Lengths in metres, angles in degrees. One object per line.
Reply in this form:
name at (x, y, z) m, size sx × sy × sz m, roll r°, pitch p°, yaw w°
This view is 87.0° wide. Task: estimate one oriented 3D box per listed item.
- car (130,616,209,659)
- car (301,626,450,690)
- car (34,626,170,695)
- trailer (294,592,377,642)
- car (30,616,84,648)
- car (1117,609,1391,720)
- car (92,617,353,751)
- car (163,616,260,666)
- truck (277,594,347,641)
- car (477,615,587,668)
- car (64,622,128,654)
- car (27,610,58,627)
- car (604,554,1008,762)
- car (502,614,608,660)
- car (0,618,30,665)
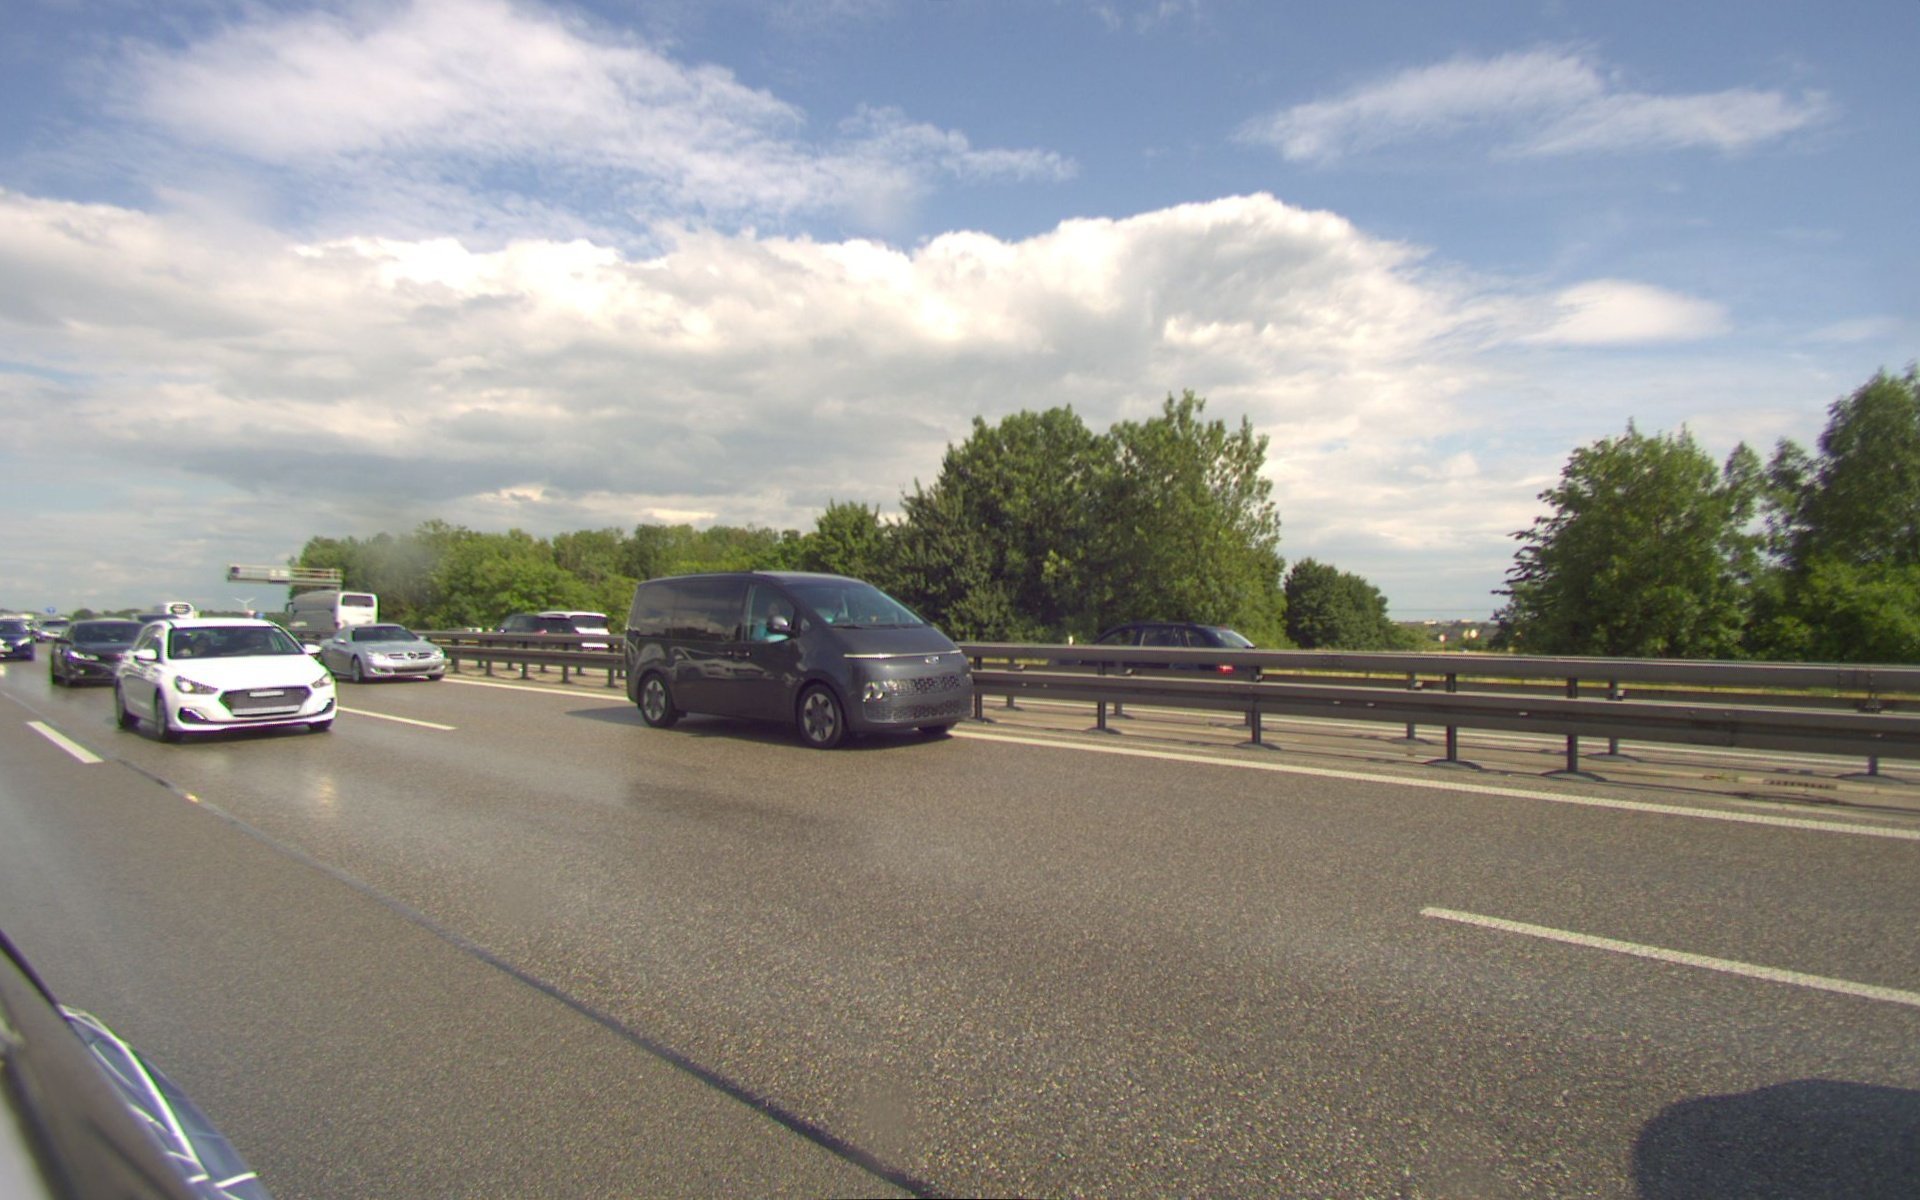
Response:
car at (-31.960, 1.471, 40.879) m, size 4.228 × 1.618 × 1.850 m, roll -1°, pitch -1°, yaw 43°
car at (-13.175, 1.231, 22.727) m, size 4.062 × 1.288 × 1.706 m, roll -1°, pitch -1°, yaw 42°
car at (-19.035, 1.262, 22.387) m, size 4.286 × 1.348 × 1.706 m, roll -1°, pitch -1°, yaw 42°
trailer at (-44.929, 1.216, 72.649) m, size 9.561 × 3.407 × 2.700 m, roll -1°, pitch -1°, yaw 43°
car at (-55.235, 1.929, 61.867) m, size 3.998 × 1.761 × 1.973 m, roll 0°, pitch 1°, yaw 41°
car at (4.889, 0.993, 17.075) m, size 3.998 × 1.641 × 1.973 m, roll 0°, pitch -2°, yaw 41°
car at (-9.832, 0.970, 13.358) m, size 4.546 × 1.466 × 1.861 m, roll -1°, pitch -1°, yaw 42°
car at (-23.873, 1.252, 32.244) m, size 4.138 × 1.436 × 1.747 m, roll -1°, pitch 0°, yaw 43°
truck at (-49.031, 1.317, 76.490) m, size 7.592 × 3.407 × 2.700 m, roll -1°, pitch -1°, yaw 43°
car at (-14.203, 1.345, 33.543) m, size 3.829 × 1.641 × 1.861 m, roll 0°, pitch -2°, yaw 41°
car at (-41.122, 1.772, 48.142) m, size 3.998 × 1.389 × 1.748 m, roll 0°, pitch -1°, yaw 41°
car at (-97.539, 1.947, 107.575) m, size 4.460 × 1.792 × 1.972 m, roll -1°, pitch -1°, yaw 42°
car at (-2.084, 0.608, 12.354) m, size 5.267 × 2.029 × 1.972 m, roll -1°, pitch -1°, yaw 42°
car at (-16.408, 1.449, 40.859) m, size 4.943 × 1.747 × 1.972 m, roll -1°, pitch -1°, yaw 42°
car at (-33.432, 1.408, 34.625) m, size 3.998 × 1.497 × 1.973 m, roll 0°, pitch 1°, yaw 41°
